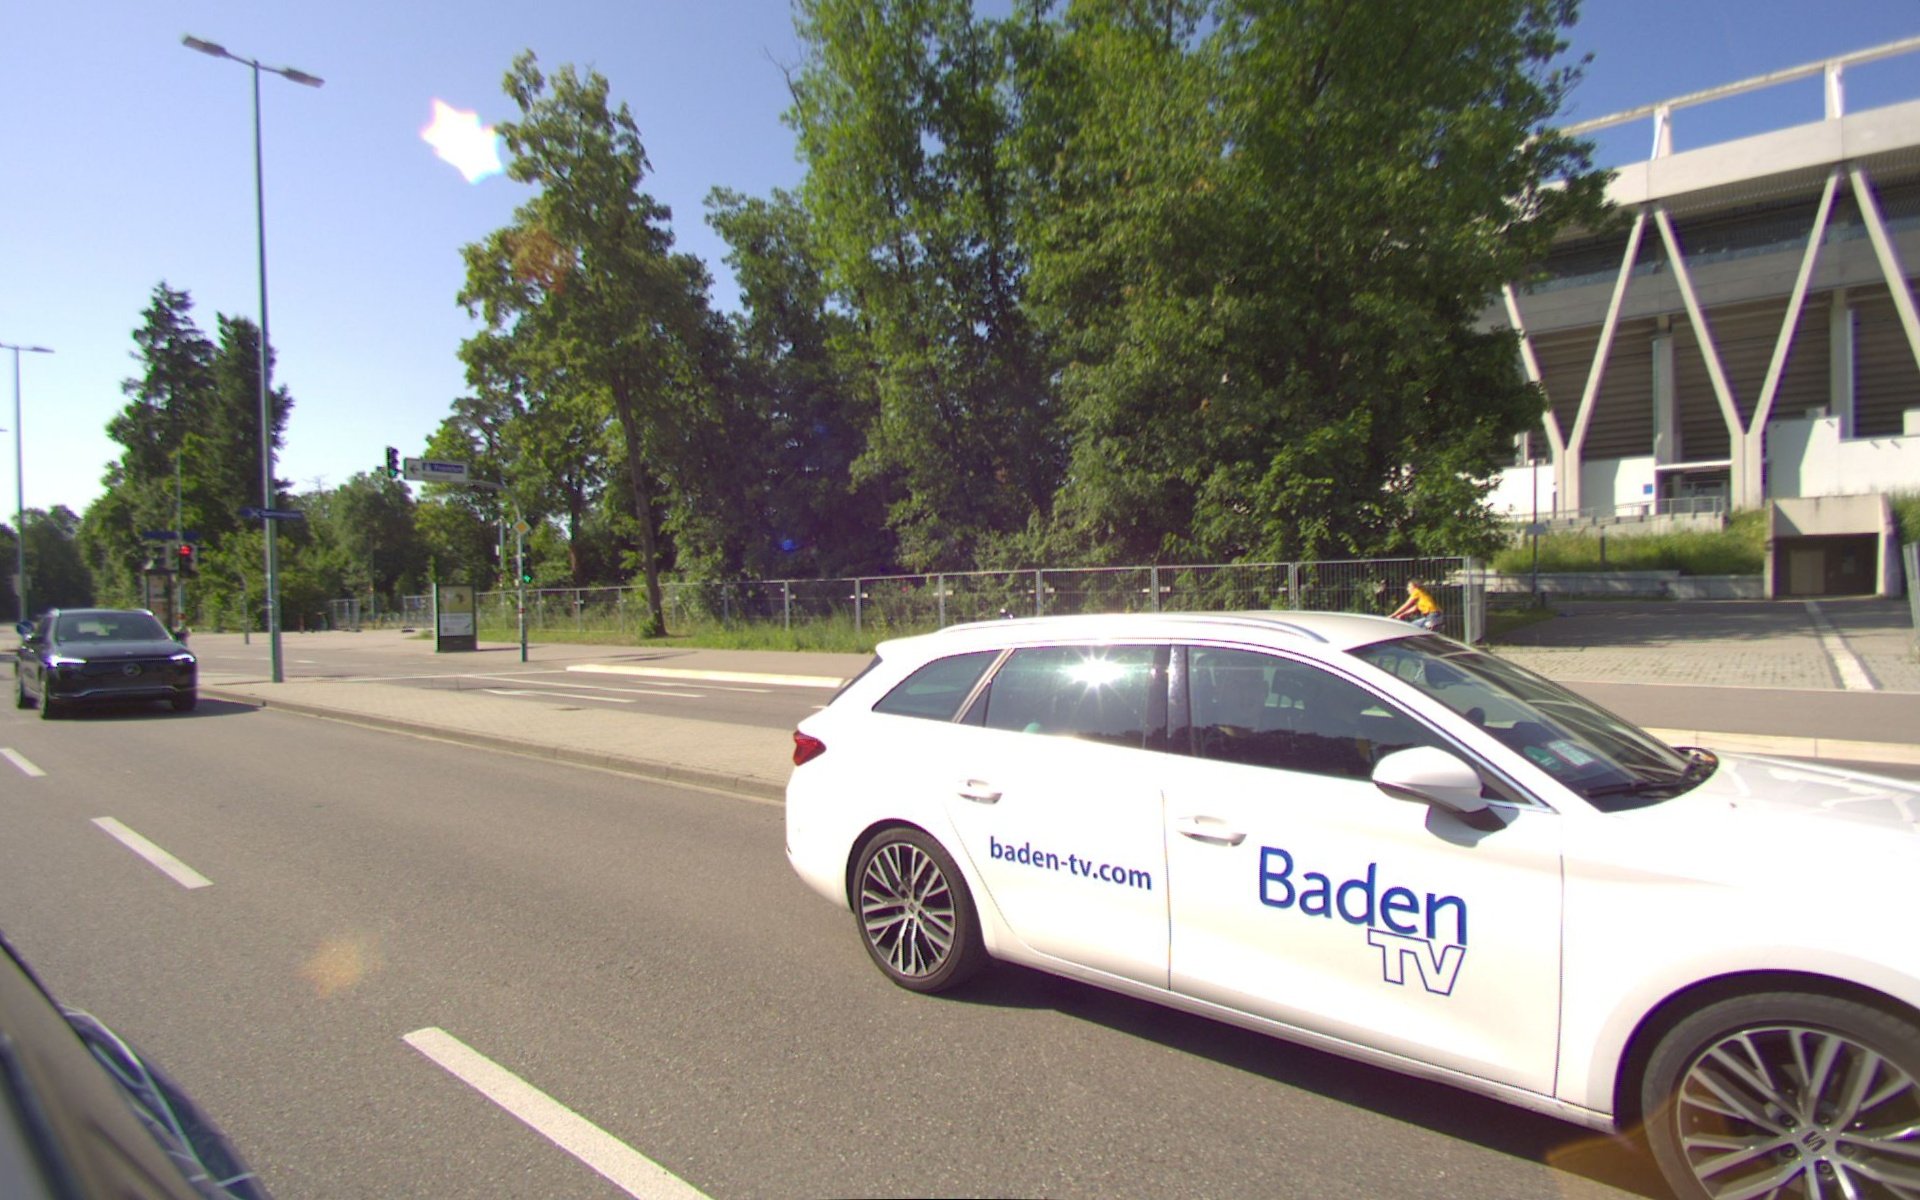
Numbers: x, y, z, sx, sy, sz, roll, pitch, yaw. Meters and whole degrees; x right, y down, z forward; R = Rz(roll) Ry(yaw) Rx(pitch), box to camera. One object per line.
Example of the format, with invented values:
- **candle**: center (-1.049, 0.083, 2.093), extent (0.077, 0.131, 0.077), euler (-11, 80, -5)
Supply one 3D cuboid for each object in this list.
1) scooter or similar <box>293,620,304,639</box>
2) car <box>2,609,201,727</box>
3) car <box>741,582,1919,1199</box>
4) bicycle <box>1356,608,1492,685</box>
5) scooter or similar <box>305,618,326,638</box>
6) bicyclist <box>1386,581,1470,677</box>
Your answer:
- **scooter or similar**: center (-41.035, 1.818, 62.793), extent (0.390, 1.154, 1.198), euler (-1, 0, -43)
- **car**: center (-13.628, 0.960, 15.979), extent (4.270, 1.608, 1.786), euler (-1, -1, 41)
- **car**: center (1.390, 0.715, 3.482), extent (4.717, 1.437, 1.707), euler (-1, -1, 41)
- **bicycle**: center (7.451, 0.725, 16.306), extent (1.877, 1.144, 0.653), euler (-1, 1, 40)
- **scooter or similar**: center (-40.341, 1.752, 63.340), extent (0.393, 1.231, 1.075), euler (-1, 0, 18)
- **bicyclist**: center (7.503, 0.456, 16.234), extent (1.056, 1.478, 0.653), euler (-1, 1, 40)
